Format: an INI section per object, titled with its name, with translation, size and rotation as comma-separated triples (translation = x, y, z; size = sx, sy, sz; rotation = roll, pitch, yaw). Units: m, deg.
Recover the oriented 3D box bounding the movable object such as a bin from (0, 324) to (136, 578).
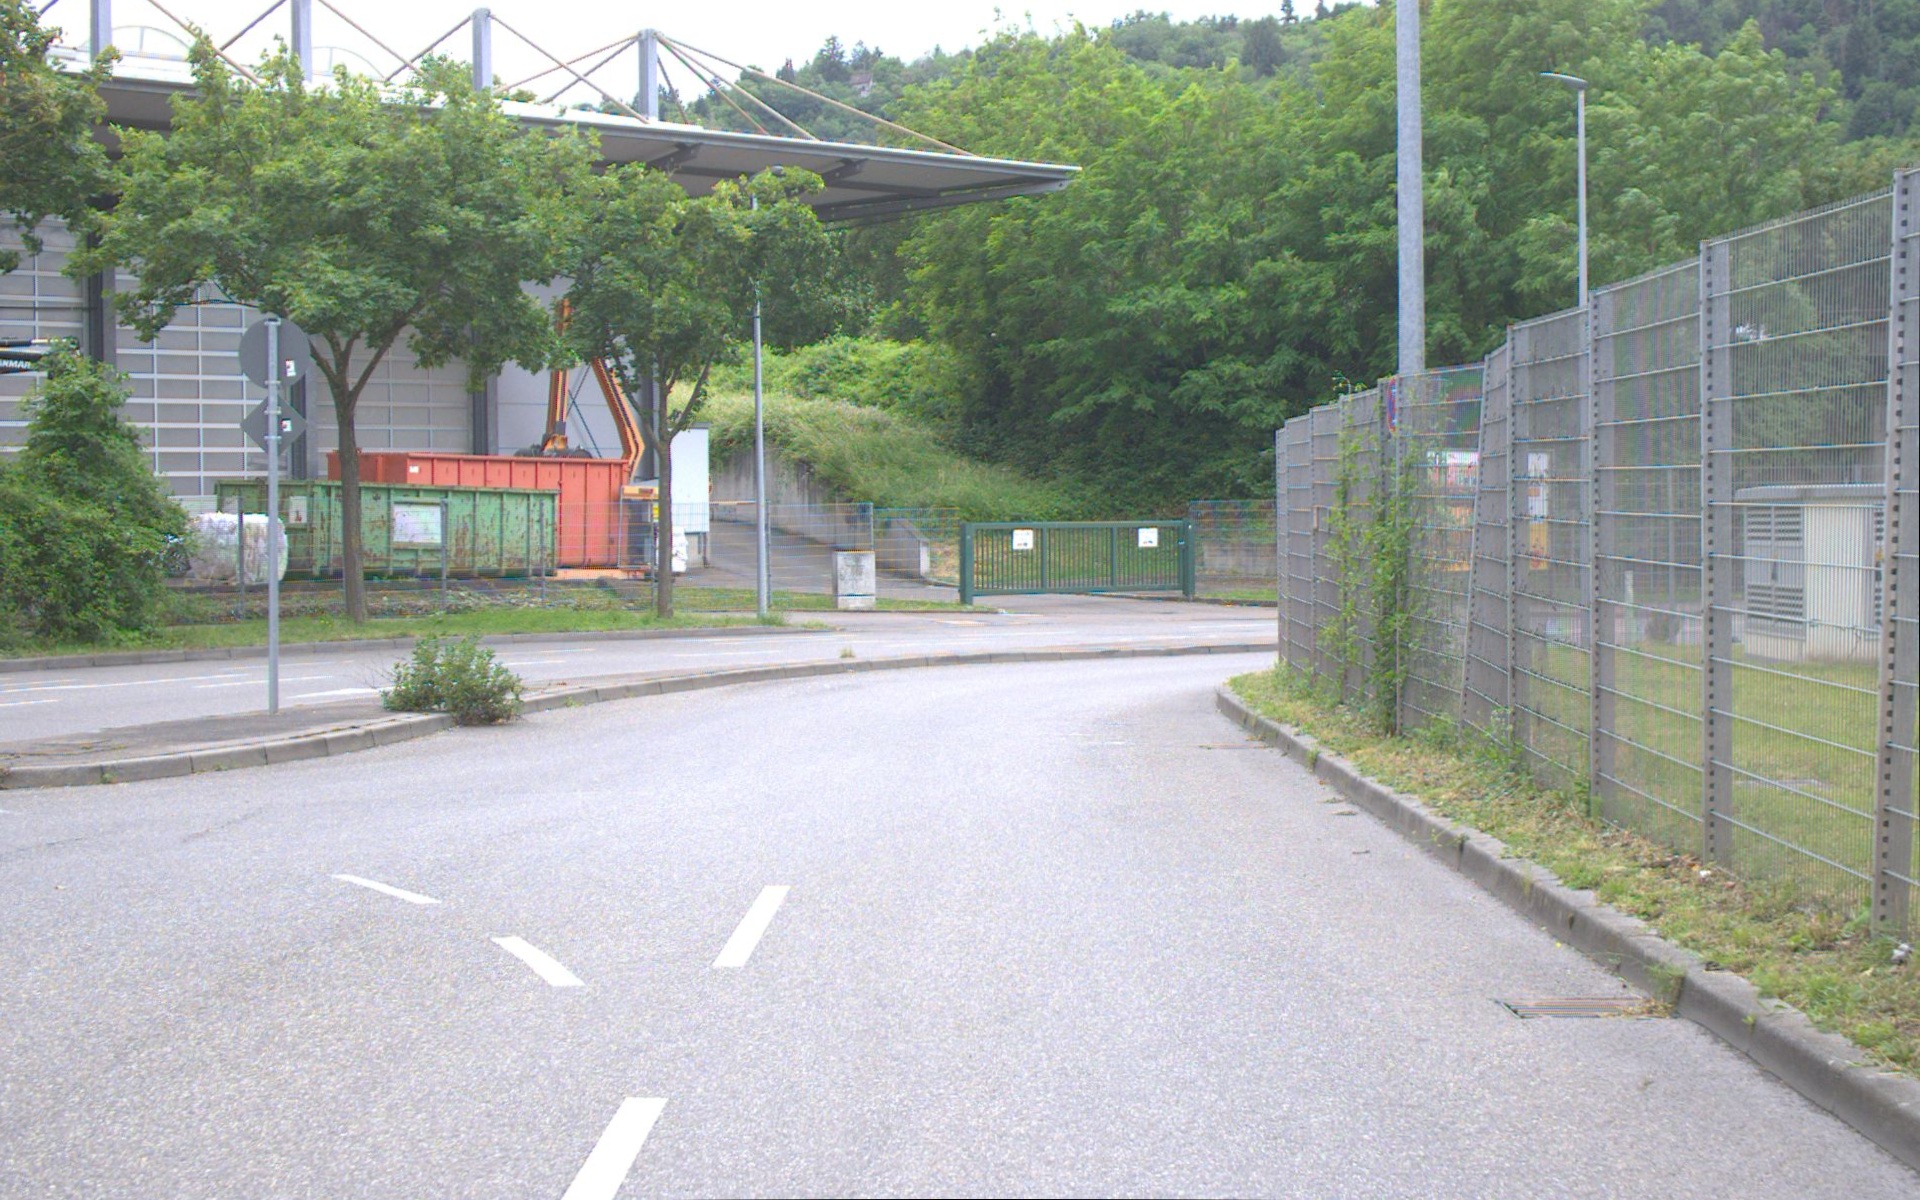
[movable object such as a bin]
translation = -16.842, -2.380, 55.704
size = 2.730, 4.077, 6.540
rotation = 0, 2, 35
